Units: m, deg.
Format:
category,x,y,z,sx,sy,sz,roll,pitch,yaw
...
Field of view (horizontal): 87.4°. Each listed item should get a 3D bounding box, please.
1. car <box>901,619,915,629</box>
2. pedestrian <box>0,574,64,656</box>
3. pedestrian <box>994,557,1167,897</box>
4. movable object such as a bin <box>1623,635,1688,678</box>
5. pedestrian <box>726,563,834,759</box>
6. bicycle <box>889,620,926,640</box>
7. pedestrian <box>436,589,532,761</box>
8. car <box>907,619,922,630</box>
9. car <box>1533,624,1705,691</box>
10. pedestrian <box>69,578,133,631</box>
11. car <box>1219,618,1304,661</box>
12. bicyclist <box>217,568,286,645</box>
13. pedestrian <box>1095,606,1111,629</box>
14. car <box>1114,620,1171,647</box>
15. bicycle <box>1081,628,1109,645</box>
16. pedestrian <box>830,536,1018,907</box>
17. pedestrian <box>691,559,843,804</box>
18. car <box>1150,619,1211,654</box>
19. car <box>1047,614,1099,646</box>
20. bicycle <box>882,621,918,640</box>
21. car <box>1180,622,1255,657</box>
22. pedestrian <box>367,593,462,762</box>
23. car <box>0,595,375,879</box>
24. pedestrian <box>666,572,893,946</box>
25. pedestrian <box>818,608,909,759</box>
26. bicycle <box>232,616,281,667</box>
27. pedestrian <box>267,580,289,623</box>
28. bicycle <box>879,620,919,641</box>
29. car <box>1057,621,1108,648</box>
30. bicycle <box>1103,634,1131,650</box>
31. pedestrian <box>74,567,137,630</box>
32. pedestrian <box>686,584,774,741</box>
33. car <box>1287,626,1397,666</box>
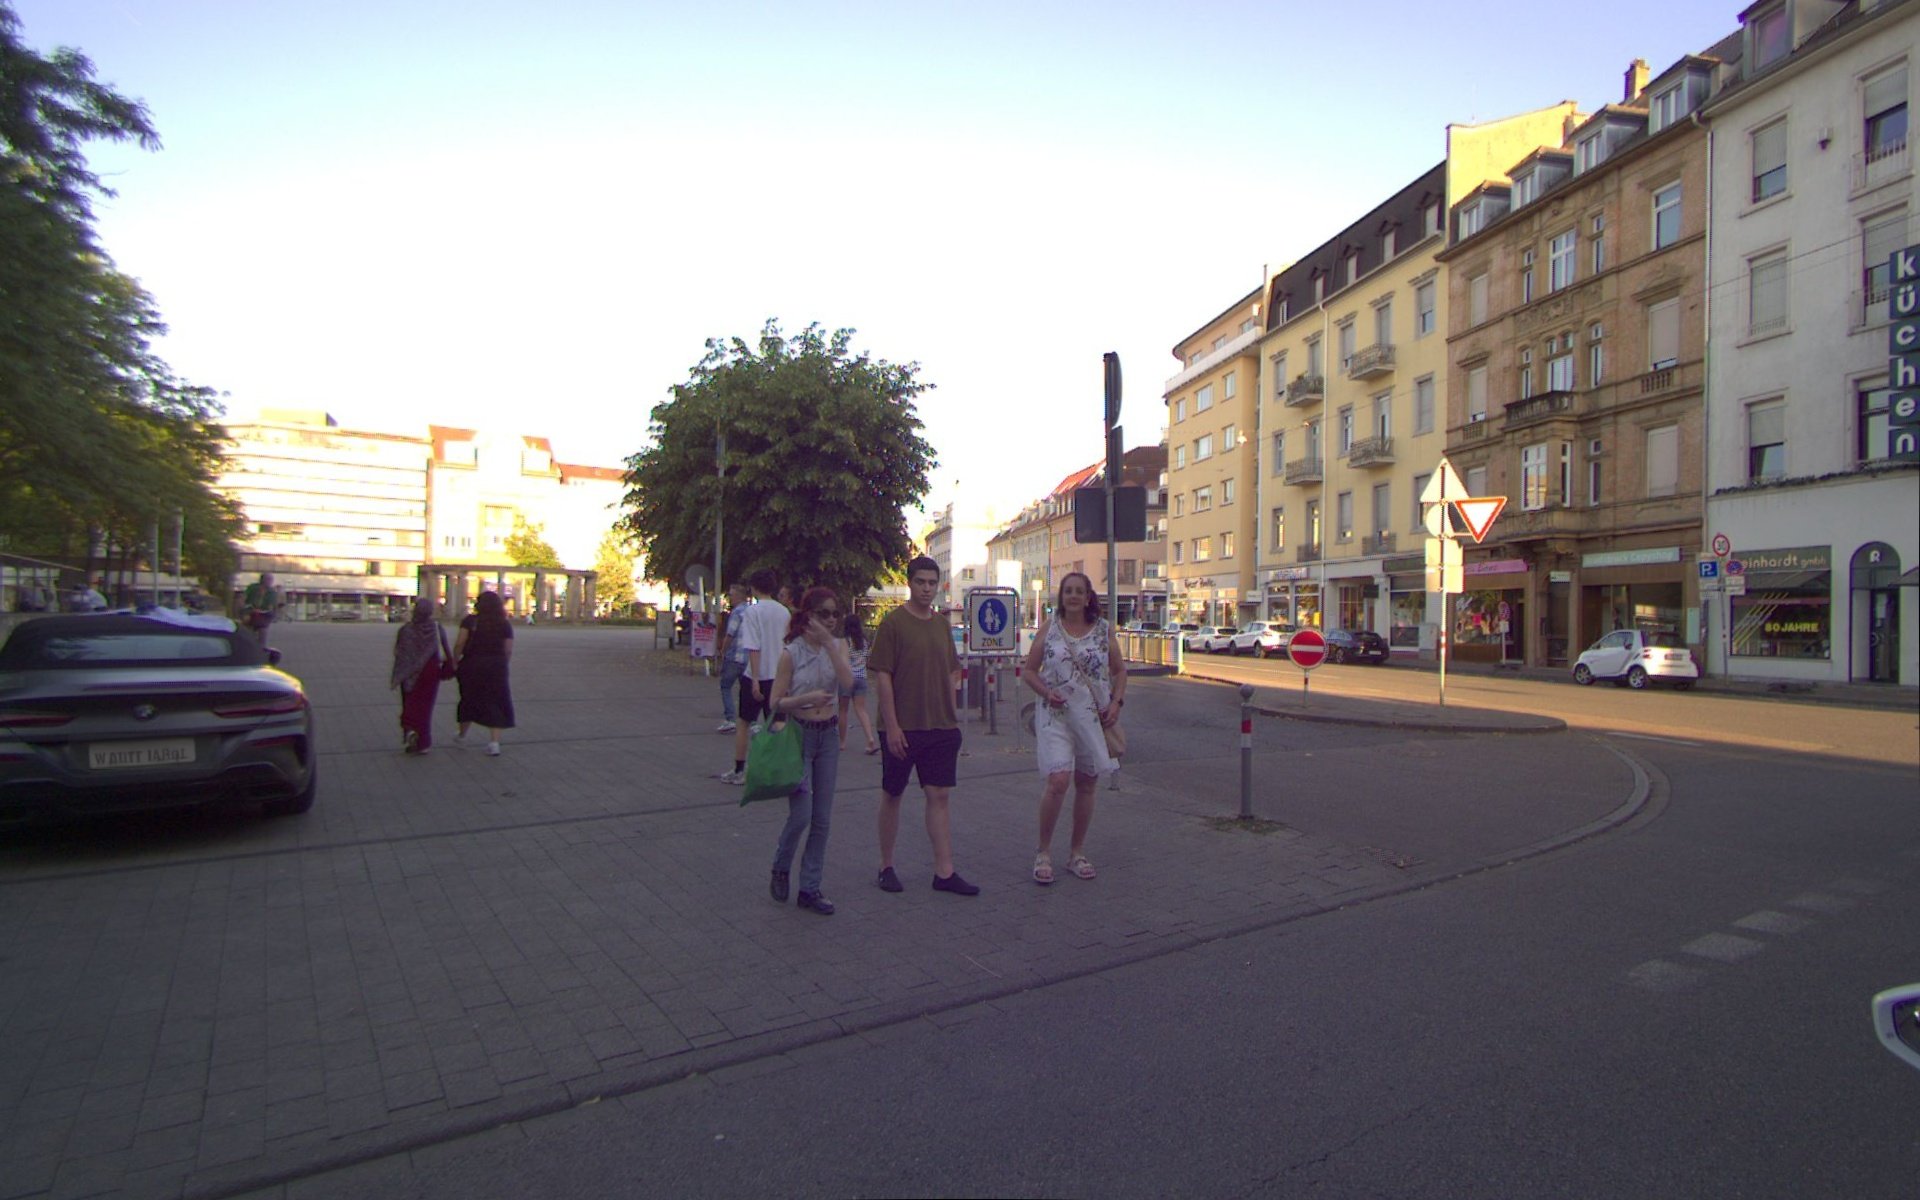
category,x,y,z,sx,sy,sz,roll,pitch,yaw
car,-9.215,4.269,178.875,1.964,1.638,3.994,2,-1,-10
pedestrian,-20.241,0.339,21.926,0.912,1.749,0.696,2,-1,-36
pedestrian,0.726,0.686,5.887,0.865,1.827,0.715,2,0,16
movable object such as a bin,20.650,1.663,29.858,0.853,1.202,1.395,1,-1,-10
pedestrian,-1.832,0.591,10.264,0.767,1.900,0.714,2,0,27
bicycle,-3.530,2.039,67.855,2.397,1.253,0.516,3,-1,-12
pedestrian,-4.688,0.702,9.883,0.789,1.603,0.725,1,0,-28
car,-7.700,4.129,169.768,1.964,1.803,3.994,2,-1,-10
car,17.972,1.519,27.625,1.675,1.606,3.992,1,0,-10
pedestrian,-23.136,0.127,27.080,1.256,1.398,0.729,2,-1,-38
car,13.943,1.811,46.749,1.854,1.768,4.650,2,0,-10
bicyclist,-13.377,0.138,18.999,1.000,1.408,0.694,2,-1,-32
pedestrian,10.982,1.346,77.068,0.863,1.743,0.752,2,-1,-35
car,11.550,2.100,63.922,1.965,1.634,4.794,2,-1,-11
bicycle,9.887,2.669,73.464,1.858,1.183,0.721,1,-1,-14
pedestrian,-0.221,0.630,5.625,0.839,1.902,0.711,1,0,-19
pedestrian,-1.557,0.631,8.263,0.965,1.878,0.890,2,0,6
car,12.596,2.064,57.781,1.840,1.785,4.399,2,0,-10
car,6.570,1.741,58.642,1.964,1.773,3.993,2,-1,-10
bicycle,-4.064,2.066,68.449,2.396,1.253,0.461,2,-1,-12
car,13.312,2.028,52.252,1.986,1.564,4.861,2,0,-9
pedestrian,-5.234,0.728,9.670,0.669,1.563,0.590,1,0,-18
car,-6.002,0.744,7.515,2.090,1.450,4.397,2,0,-40
pedestrian,-0.897,0.723,5.116,0.701,1.691,0.881,2,0,29
pedestrian,-1.006,0.848,10.551,0.703,1.506,0.603,2,0,27
bicycle,-13.221,0.763,18.901,0.633,0.893,1.616,2,-1,-32
pedestrian,-32.322,0.078,47.586,0.725,1.974,0.795,2,-1,-43
bicycle,-4.016,2.024,66.232,2.460,1.301,0.816,2,-1,10
car,8.072,2.278,66.621,2.300,1.625,3.887,2,-1,-10
bicycle,10.945,2.924,70.151,1.858,1.127,0.592,1,0,-14
pedestrian,-23.545,-0.024,27.697,1.256,1.669,0.701,2,-1,-37
pedestrian,-2.703,0.711,11.818,0.675,1.769,0.715,2,0,27
car,15.436,1.841,40.882,1.964,1.453,4.842,2,-1,-10
